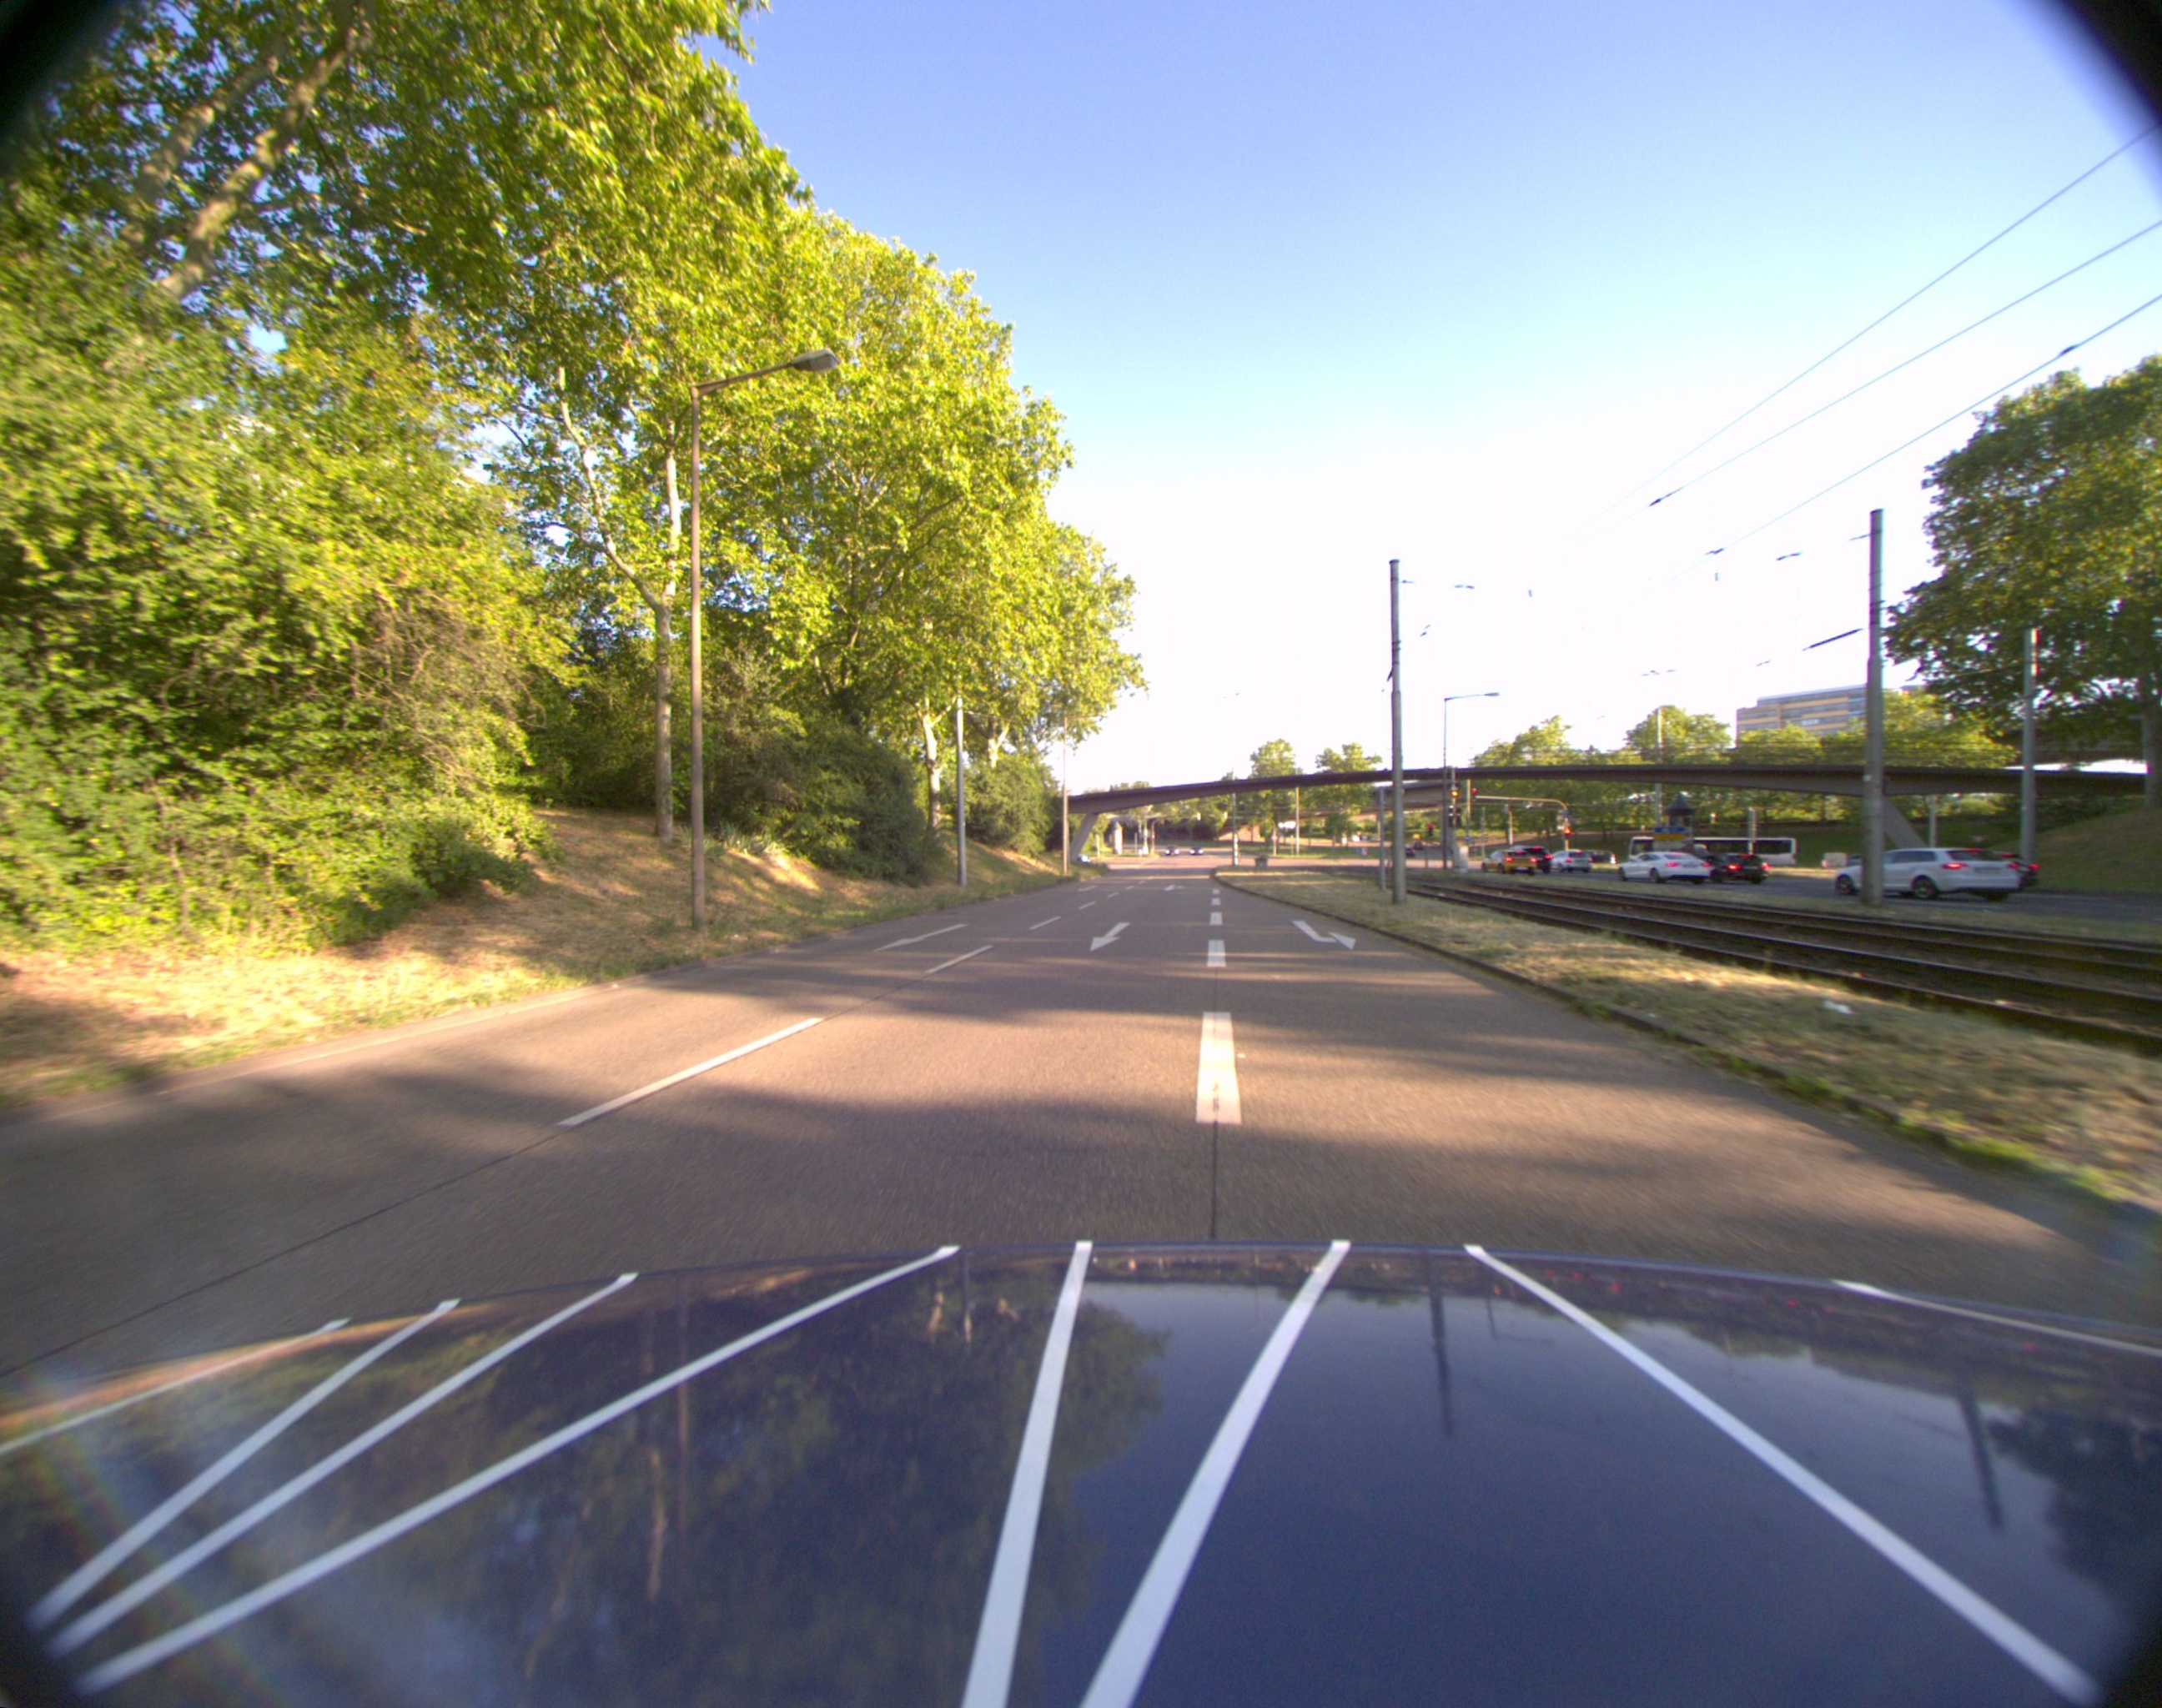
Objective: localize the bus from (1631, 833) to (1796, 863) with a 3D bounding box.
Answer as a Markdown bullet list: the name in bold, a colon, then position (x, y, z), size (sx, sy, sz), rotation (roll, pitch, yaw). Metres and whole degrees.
- **bus**: position (64.584, -0.675, 78.229), size (12.815, 2.938, 2.837), rotation (1, 2, 33)

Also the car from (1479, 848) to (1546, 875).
- **car**: position (23.961, 0.374, 42.356), size (1.842, 1.408, 4.020), rotation (-1, 1, 8)

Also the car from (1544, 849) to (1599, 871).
- **car**: position (33.827, 0.379, 52.540), size (1.689, 1.408, 4.441), rotation (-1, 1, 11)

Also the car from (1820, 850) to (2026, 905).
- **car**: position (23.889, 0.601, 21.829), size (1.656, 1.407, 4.261), rotation (-1, 0, 9)

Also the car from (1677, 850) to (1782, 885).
- **car**: position (30.460, 0.600, 35.861), size (1.841, 1.473, 4.439), rotation (-2, 0, 12)

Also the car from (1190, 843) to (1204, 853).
- **car**: position (18.388, -0.955, 120.749), size (1.997, 1.477, 4.001), rotation (-1, 0, 6)

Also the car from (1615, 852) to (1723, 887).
- **car**: position (25.917, 0.631, 33.698), size (1.841, 1.407, 4.603), rotation (0, 0, 10)

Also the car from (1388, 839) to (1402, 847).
- **car**: position (61.943, -2.206, 149.788), size (2.008, 1.435, 4.865), rotation (-1, 1, 17)

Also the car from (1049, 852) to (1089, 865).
- **car**: position (-1.321, 0.478, 84.895), size (4.086, 1.346, 1.719), rotation (0, 2, 19)

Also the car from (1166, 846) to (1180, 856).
- **car**: position (14.419, -0.418, 118.828), size (1.997, 1.477, 4.002), rotation (-1, 0, 8)

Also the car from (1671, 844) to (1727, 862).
- **car**: position (61.447, -0.121, 75.599), size (4.083, 1.643, 1.720), rotation (1, 2, 32)

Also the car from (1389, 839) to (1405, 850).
- **car**: position (49.430, -1.437, 118.824), size (1.793, 1.641, 4.362), rotation (-1, 1, 16)

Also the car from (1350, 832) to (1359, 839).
- **car**: position (69.098, -4.629, 191.747), size (1.853, 1.600, 4.312), rotation (0, 1, 16)

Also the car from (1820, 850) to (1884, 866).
- **car**: position (73.495, 0.377, 72.507), size (3.988, 1.434, 1.708), rotation (1, 2, 32)

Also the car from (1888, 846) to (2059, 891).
- **car**: position (32.649, 0.485, 28.018), size (1.841, 1.473, 4.605), rotation (-2, 0, 16)

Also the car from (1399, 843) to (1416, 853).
- **car**: position (45.436, -0.808, 105.653), size (1.688, 1.302, 4.314), rotation (-1, 1, 17)

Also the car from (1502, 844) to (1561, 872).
- **car**: position (28.905, 0.235, 48.886), size (1.841, 1.645, 4.439), rotation (-2, 0, 10)

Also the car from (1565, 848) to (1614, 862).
- **car**: position (52.326, 0.118, 78.249), size (4.083, 1.346, 1.720), rotation (1, 2, 32)

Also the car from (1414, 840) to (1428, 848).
- **car**: position (60.786, -1.854, 135.958), size (2.007, 1.435, 4.259), rotation (-1, 1, 20)
